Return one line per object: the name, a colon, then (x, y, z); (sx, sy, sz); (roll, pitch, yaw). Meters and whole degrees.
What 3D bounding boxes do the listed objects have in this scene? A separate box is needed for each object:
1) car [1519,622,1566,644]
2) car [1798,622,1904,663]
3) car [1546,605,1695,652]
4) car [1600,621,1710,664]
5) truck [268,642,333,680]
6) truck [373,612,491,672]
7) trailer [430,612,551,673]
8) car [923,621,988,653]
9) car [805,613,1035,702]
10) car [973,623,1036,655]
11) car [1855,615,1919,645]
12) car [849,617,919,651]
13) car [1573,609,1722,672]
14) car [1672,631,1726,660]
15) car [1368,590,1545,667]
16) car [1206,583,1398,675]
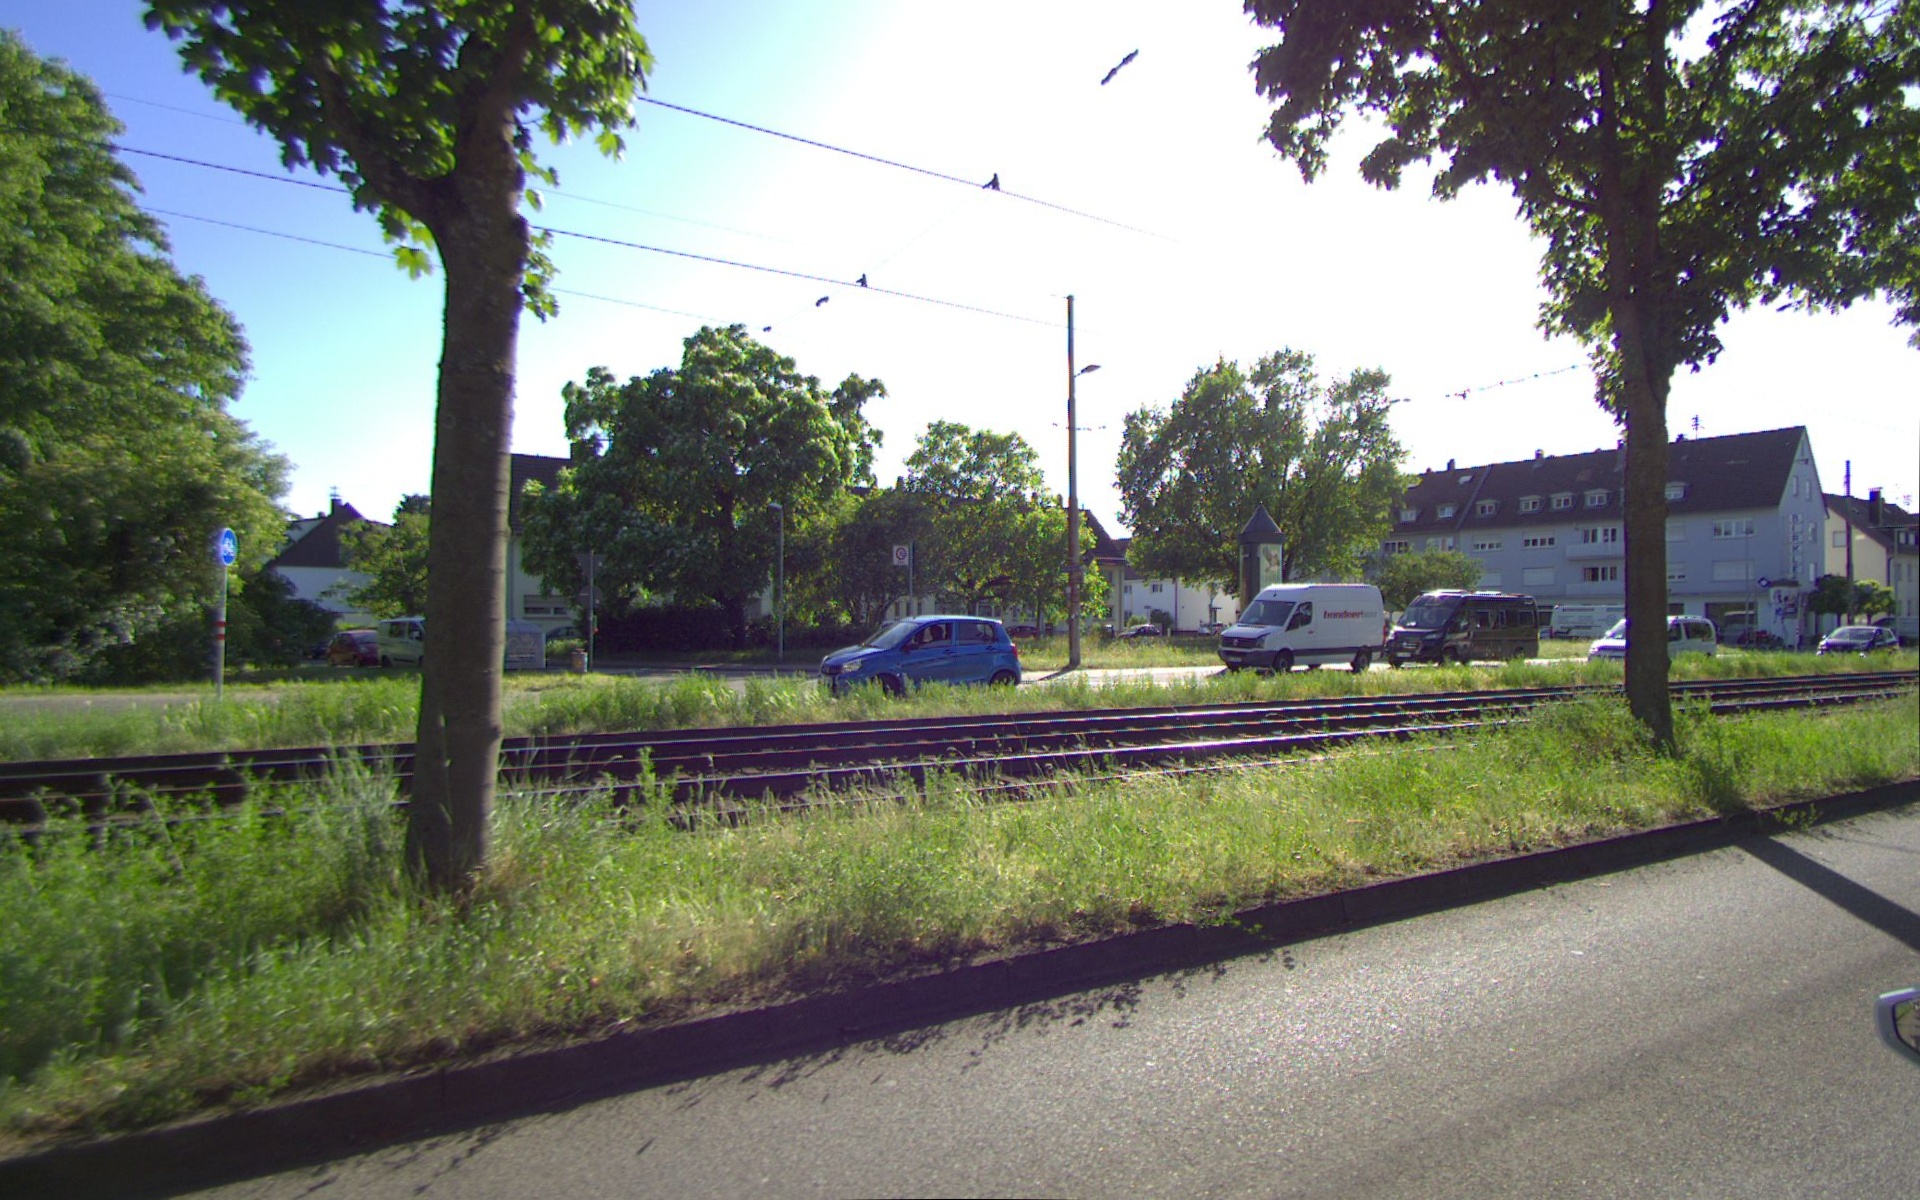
car: (40.852, 2.308, 70.411); (3.596, 1.468, 1.518); (1, -1, -36)
car: (34.715, 1.631, 39.144); (3.705, 1.551, 1.985); (1, -1, -29)
car: (38.780, 1.633, 59.216); (2.306, 2.541, 7.022); (1, 0, -34)
car: (28.089, 1.700, 40.544); (4.717, 1.628, 1.814); (2, 0, -30)
truck: (-33.828, 3.068, 51.498); (3.839, 1.695, 1.877); (1, 0, 42)
truck: (-18.770, 1.435, 35.585); (4.869, 1.893, 2.074); (1, 0, 41)
trailer: (-13.356, 1.161, 28.503); (3.703, 1.524, 1.745); (1, 0, 41)
car: (-0.288, 2.472, 67.490); (3.960, 2.040, 1.980); (2, 0, -35)
car: (-0.669, 0.973, 17.737); (3.776, 1.413, 1.549); (2, 0, -31)
car: (3.108, 2.749, 70.139); (3.959, 2.040, 1.981); (3, -1, -34)
car: (63.690, 2.002, 67.915); (1.984, 1.971, 4.579); (1, -1, -40)
car: (-4.793, 2.164, 63.751); (3.966, 2.040, 1.978); (2, 0, -39)
car: (20.998, 1.223, 30.629); (4.923, 1.767, 1.802); (2, 0, -30)
car: (46.583, 2.840, 63.261); (4.065, 1.692, 1.781); (2, 0, -39)
car: (16.757, 0.948, 33.754); (6.389, 2.408, 2.172); (2, 0, -30)
car: (10.325, 0.869, 30.132); (6.067, 2.530, 1.991); (2, 0, -31)
